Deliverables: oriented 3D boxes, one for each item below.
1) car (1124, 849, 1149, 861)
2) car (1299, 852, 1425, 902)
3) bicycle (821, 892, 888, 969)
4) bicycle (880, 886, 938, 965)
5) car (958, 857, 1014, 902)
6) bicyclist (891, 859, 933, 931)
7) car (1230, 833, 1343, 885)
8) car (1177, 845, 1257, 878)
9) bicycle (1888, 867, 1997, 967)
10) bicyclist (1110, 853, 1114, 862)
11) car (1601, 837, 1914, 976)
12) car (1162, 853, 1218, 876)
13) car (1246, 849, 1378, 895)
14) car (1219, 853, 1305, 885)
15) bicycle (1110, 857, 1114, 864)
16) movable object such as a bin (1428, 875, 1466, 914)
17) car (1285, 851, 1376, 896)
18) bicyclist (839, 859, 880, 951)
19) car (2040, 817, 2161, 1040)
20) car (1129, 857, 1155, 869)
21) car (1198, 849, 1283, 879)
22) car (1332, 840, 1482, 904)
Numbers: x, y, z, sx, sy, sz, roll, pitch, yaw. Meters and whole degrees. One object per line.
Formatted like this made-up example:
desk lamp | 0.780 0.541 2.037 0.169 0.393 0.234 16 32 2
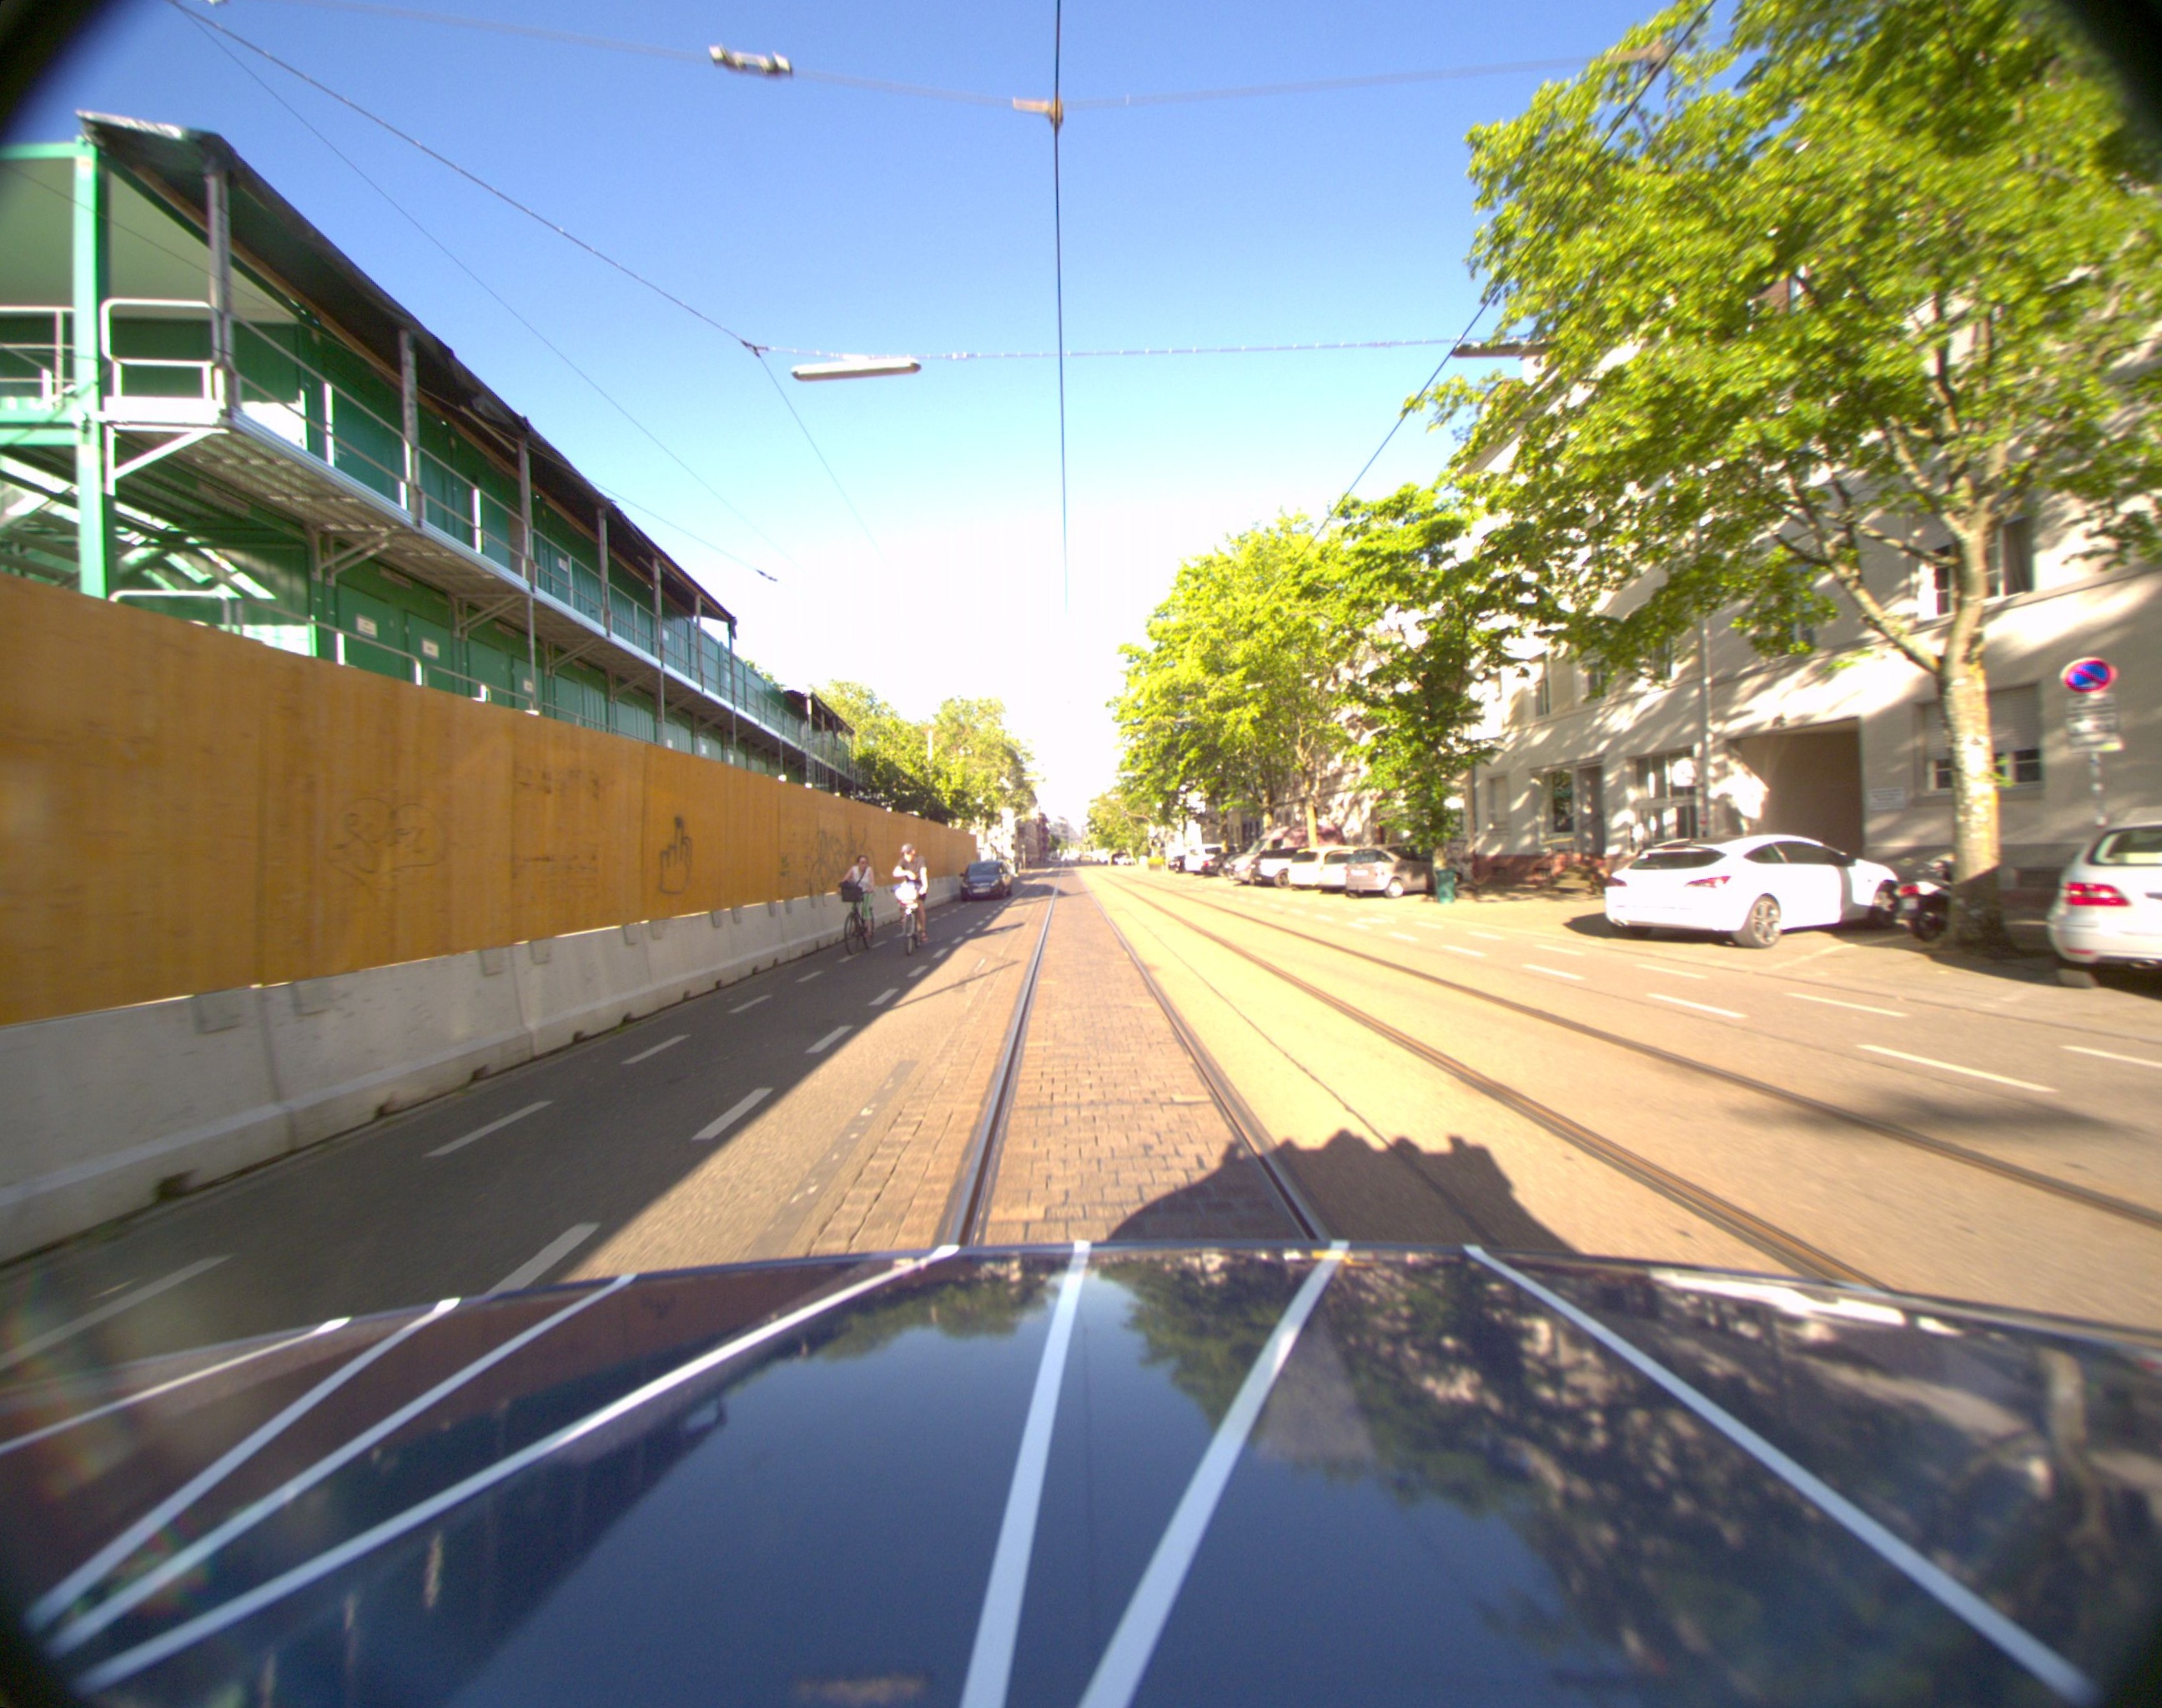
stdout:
car | 7.869 0.136 107.901 3.337 1.445 1.496 -3 2 0
car | 9.582 0.733 25.832 4.178 1.543 1.698 -1 0 -30
bicycle | -3.946 1.289 13.426 0.558 1.120 2.275 -2 0 -3
bicycle | -2.995 1.200 13.392 0.669 1.148 2.275 -3 0 -6
car | -3.848 0.986 31.503 1.750 1.612 4.169 -3 0 -1
bicyclist | -2.940 0.704 13.230 0.653 1.230 0.353 -1 0 -3
car | 9.304 0.222 34.661 4.449 2.105 2.163 -2 0 -3
car | 9.089 0.480 50.683 4.946 2.002 2.071 -1 0 -24
bicycle | 10.842 0.766 9.552 1.476 1.153 0.436 -1 1 -22
bicyclist | 4.663 0.531 113.841 0.419 1.462 0.590 -1 0 -5
car | 9.819 0.653 11.072 3.650 1.521 1.883 -4 1 -20
car | 8.457 0.794 58.948 4.006 1.549 1.777 -3 1 -31
car | 9.632 0.719 31.949 4.842 1.714 2.163 -2 0 -3
car | 9.583 0.784 40.328 4.101 1.445 1.668 -3 1 -16
bicycle | 4.662 0.986 113.836 0.451 0.930 1.757 -1 0 -5
movable object such as a bin | 9.249 1.022 19.228 0.623 0.939 0.670 -1 0 -2
car | 9.427 0.714 28.637 3.380 1.544 1.381 -2 0 -32
bicyclist | -3.965 0.896 13.622 0.557 1.603 0.576 -1 0 -3
car | 10.458 0.515 6.681 4.005 1.647 1.807 -4 0 -29
car | 8.221 1.210 103.118 3.337 1.445 1.496 -3 2 0
car | 9.789 0.627 46.966 4.708 1.567 1.953 -3 0 -5
car | 9.730 0.491 22.688 4.003 1.667 1.700 -2 0 -21
